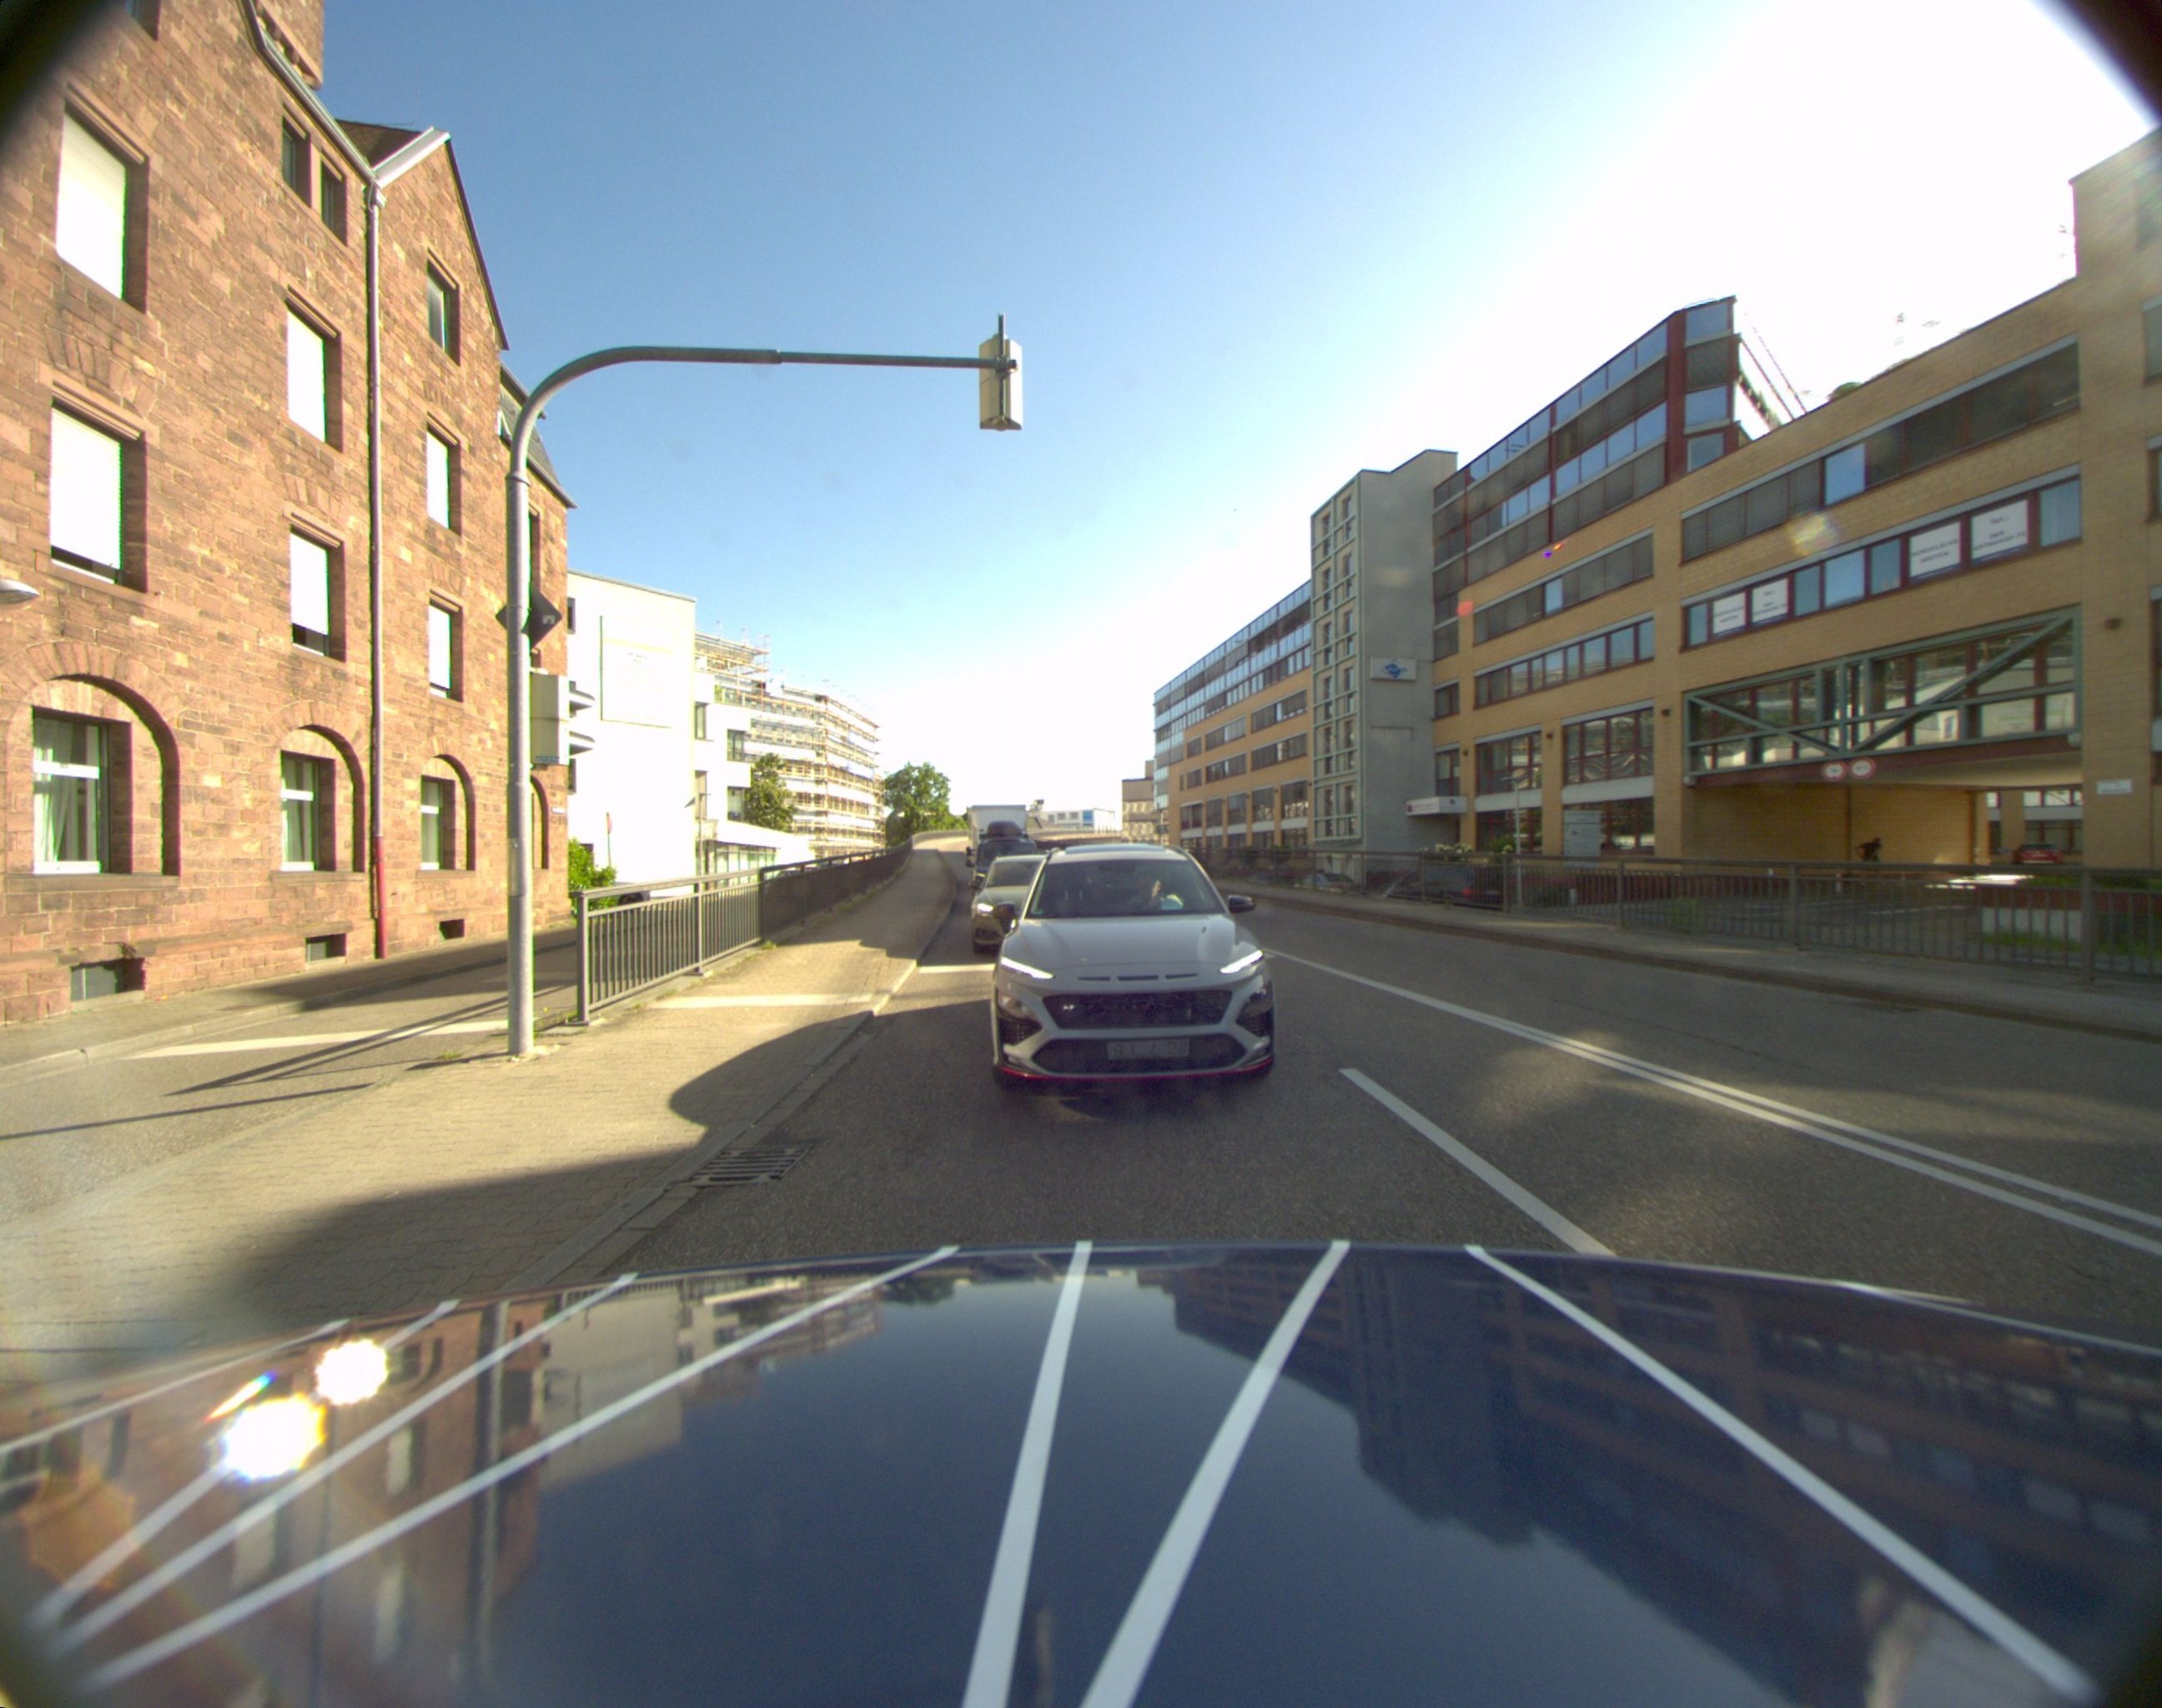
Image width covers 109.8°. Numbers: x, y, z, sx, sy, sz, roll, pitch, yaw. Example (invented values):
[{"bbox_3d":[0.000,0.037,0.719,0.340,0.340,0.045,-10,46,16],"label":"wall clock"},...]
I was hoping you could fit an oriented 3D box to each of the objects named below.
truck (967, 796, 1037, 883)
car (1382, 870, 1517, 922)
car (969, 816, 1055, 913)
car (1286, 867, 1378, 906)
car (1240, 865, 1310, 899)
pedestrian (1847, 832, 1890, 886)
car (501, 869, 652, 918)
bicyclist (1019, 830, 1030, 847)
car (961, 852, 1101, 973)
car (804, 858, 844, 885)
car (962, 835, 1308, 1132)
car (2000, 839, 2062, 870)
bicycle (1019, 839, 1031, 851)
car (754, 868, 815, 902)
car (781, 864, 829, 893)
[{"bbox_3d":[-3.339,-0.508,30.880,2.504,3.110,6.955,-1,0,-8],"label":"truck"},{"bbox_3d":[11.943,1.306,24.944,1.640,1.514,4.156,0,0,-15],"label":"car"},{"bbox_3d":[-1.872,0.261,19.997,1.951,2.248,4.782,-1,0,-7],"label":"car"},{"bbox_3d":[10.613,1.328,32.444,1.881,1.514,4.156,0,0,-13],"label":"car"},{"bbox_3d":[9.618,1.363,38.024,1.886,1.554,3.997,0,0,-10],"label":"car"},{"bbox_3d":[27.964,0.179,26.985,0.747,1.840,0.705,-2,0,-6],"label":"pedestrian"},{"bbox_3d":[-17.640,1.330,26.694,4.101,1.522,1.914,-1,-1,-45],"label":"car"},{"bbox_3d":[-6.436,-1.739,87.148,1.084,1.861,1.083,-2,1,-10],"label":"bicyclist"},{"bbox_3d":[-0.792,0.788,12.579,1.879,1.462,4.632,0,2,-3],"label":"car"},{"bbox_3d":[-17.009,1.162,50.523,2.055,1.676,4.088,-1,-1,-13],"label":"car"},{"bbox_3d":[0.400,0.713,6.259,1.878,1.612,4.197,0,0,3],"label":"car"},{"bbox_3d":[53.287,0.013,42.681,4.007,1.512,1.763,-3,1,-44],"label":"car"},{"bbox_3d":[-6.407,-1.035,87.181,1.084,1.223,2.781,-2,1,-10],"label":"bicycle"},{"bbox_3d":[-14.258,1.448,36.758,2.055,1.522,4.089,-1,-1,-12],"label":"car"},{"bbox_3d":[-15.532,1.356,42.943,2.055,1.522,4.088,-1,-1,-13],"label":"car"}]
